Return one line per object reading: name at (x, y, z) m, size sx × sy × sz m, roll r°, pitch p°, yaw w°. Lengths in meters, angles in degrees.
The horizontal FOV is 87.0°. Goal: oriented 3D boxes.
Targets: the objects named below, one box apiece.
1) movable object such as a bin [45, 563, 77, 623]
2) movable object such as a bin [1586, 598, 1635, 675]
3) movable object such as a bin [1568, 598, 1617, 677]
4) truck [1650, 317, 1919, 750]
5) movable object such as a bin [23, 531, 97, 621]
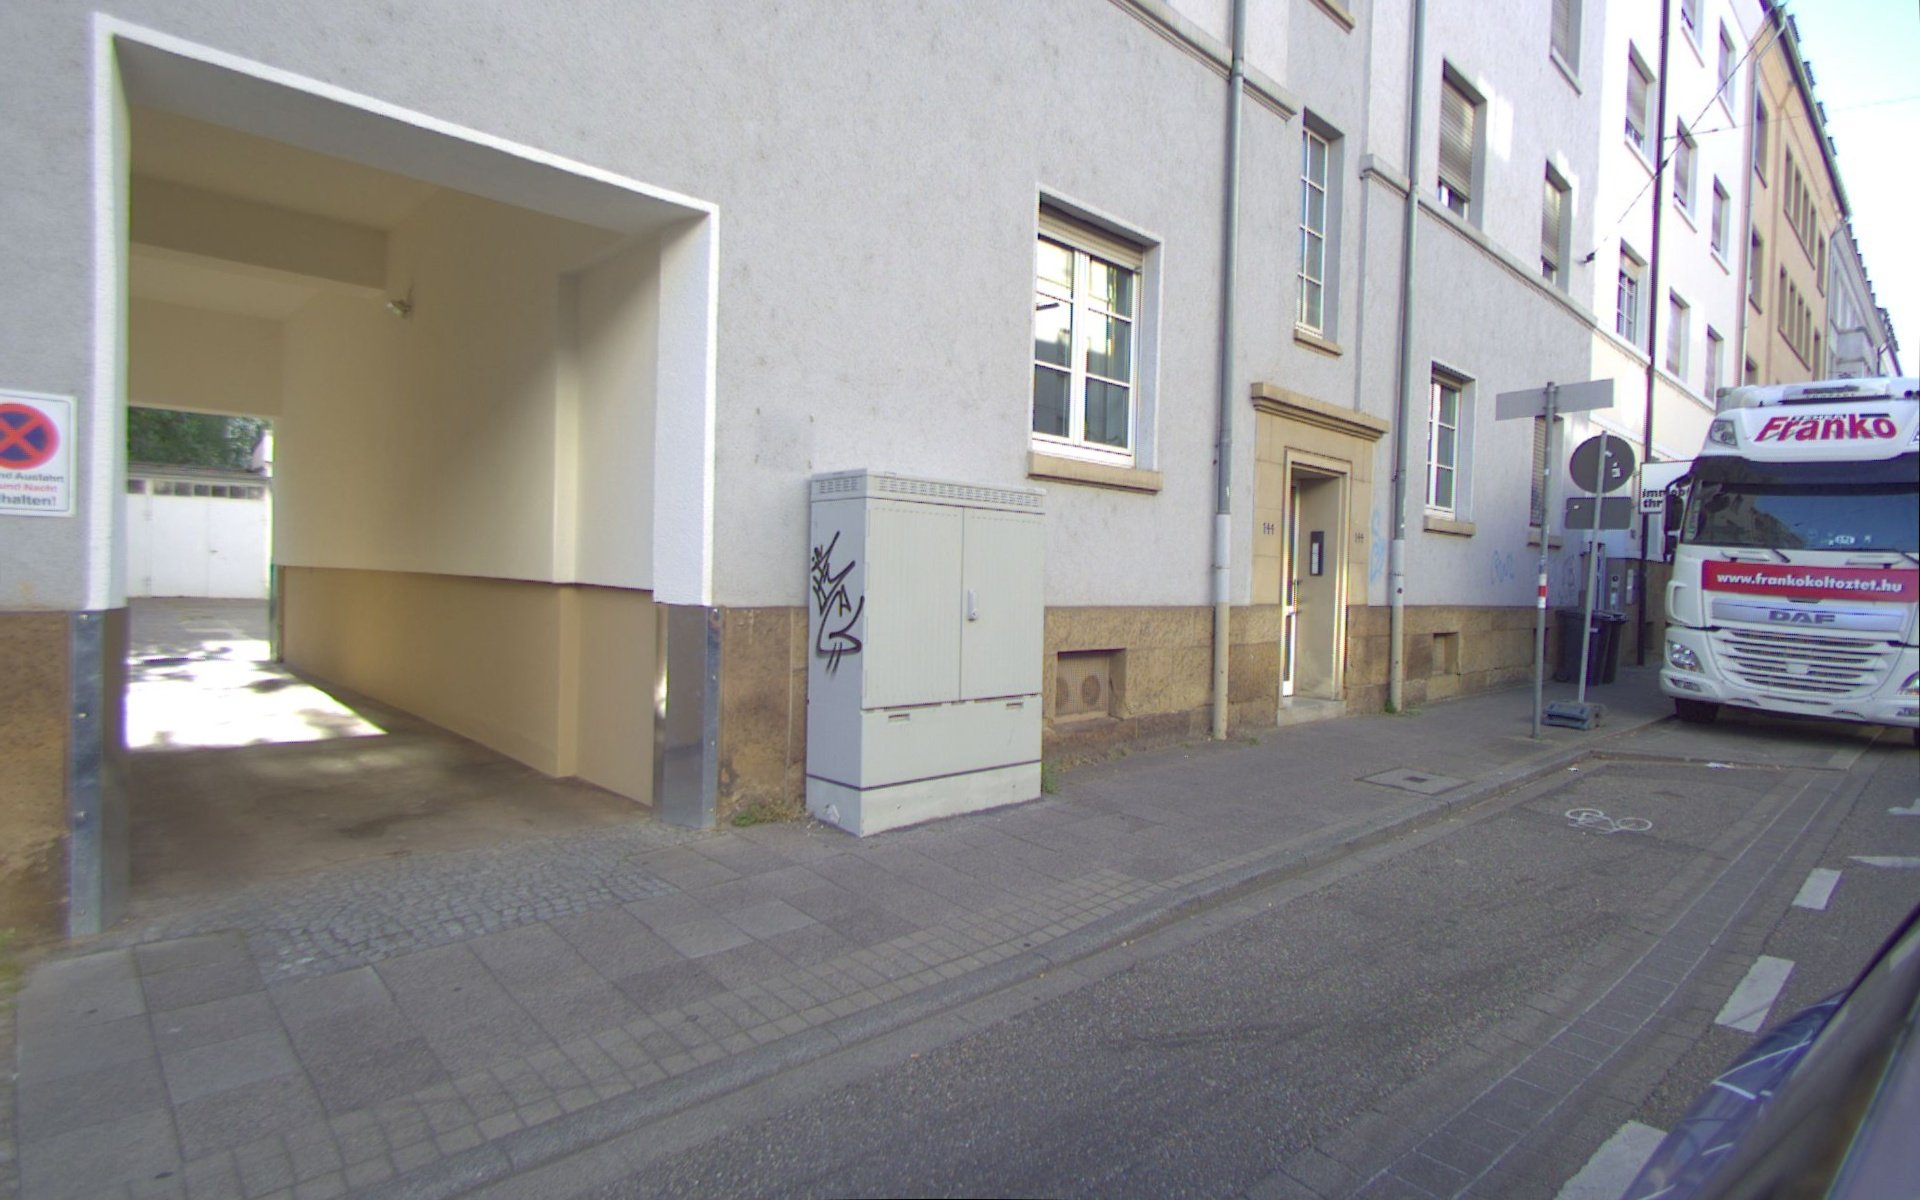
movable object such as a bin at (-14.306, -0.110, 16.101) m, size 0.366 × 0.919 × 0.420 m, roll 0°, pitch 3°, yaw -44°
movable object such as a bin at (9.600, 0.525, 14.937) m, size 0.511 × 1.106 × 0.488 m, roll 0°, pitch 0°, yaw 45°
movable object such as a bin at (9.113, 0.528, 14.577) m, size 0.511 × 1.106 × 0.488 m, roll 0°, pitch 0°, yaw 45°
truck at (12.589, -0.607, 13.836) m, size 11.511 × 4.012 × 2.894 m, roll 0°, pitch 0°, yaw -44°
movable object such as a bin at (-14.720, -0.401, 16.555) m, size 0.874 × 1.409 × 0.758 m, roll 0°, pitch 4°, yaw -44°
